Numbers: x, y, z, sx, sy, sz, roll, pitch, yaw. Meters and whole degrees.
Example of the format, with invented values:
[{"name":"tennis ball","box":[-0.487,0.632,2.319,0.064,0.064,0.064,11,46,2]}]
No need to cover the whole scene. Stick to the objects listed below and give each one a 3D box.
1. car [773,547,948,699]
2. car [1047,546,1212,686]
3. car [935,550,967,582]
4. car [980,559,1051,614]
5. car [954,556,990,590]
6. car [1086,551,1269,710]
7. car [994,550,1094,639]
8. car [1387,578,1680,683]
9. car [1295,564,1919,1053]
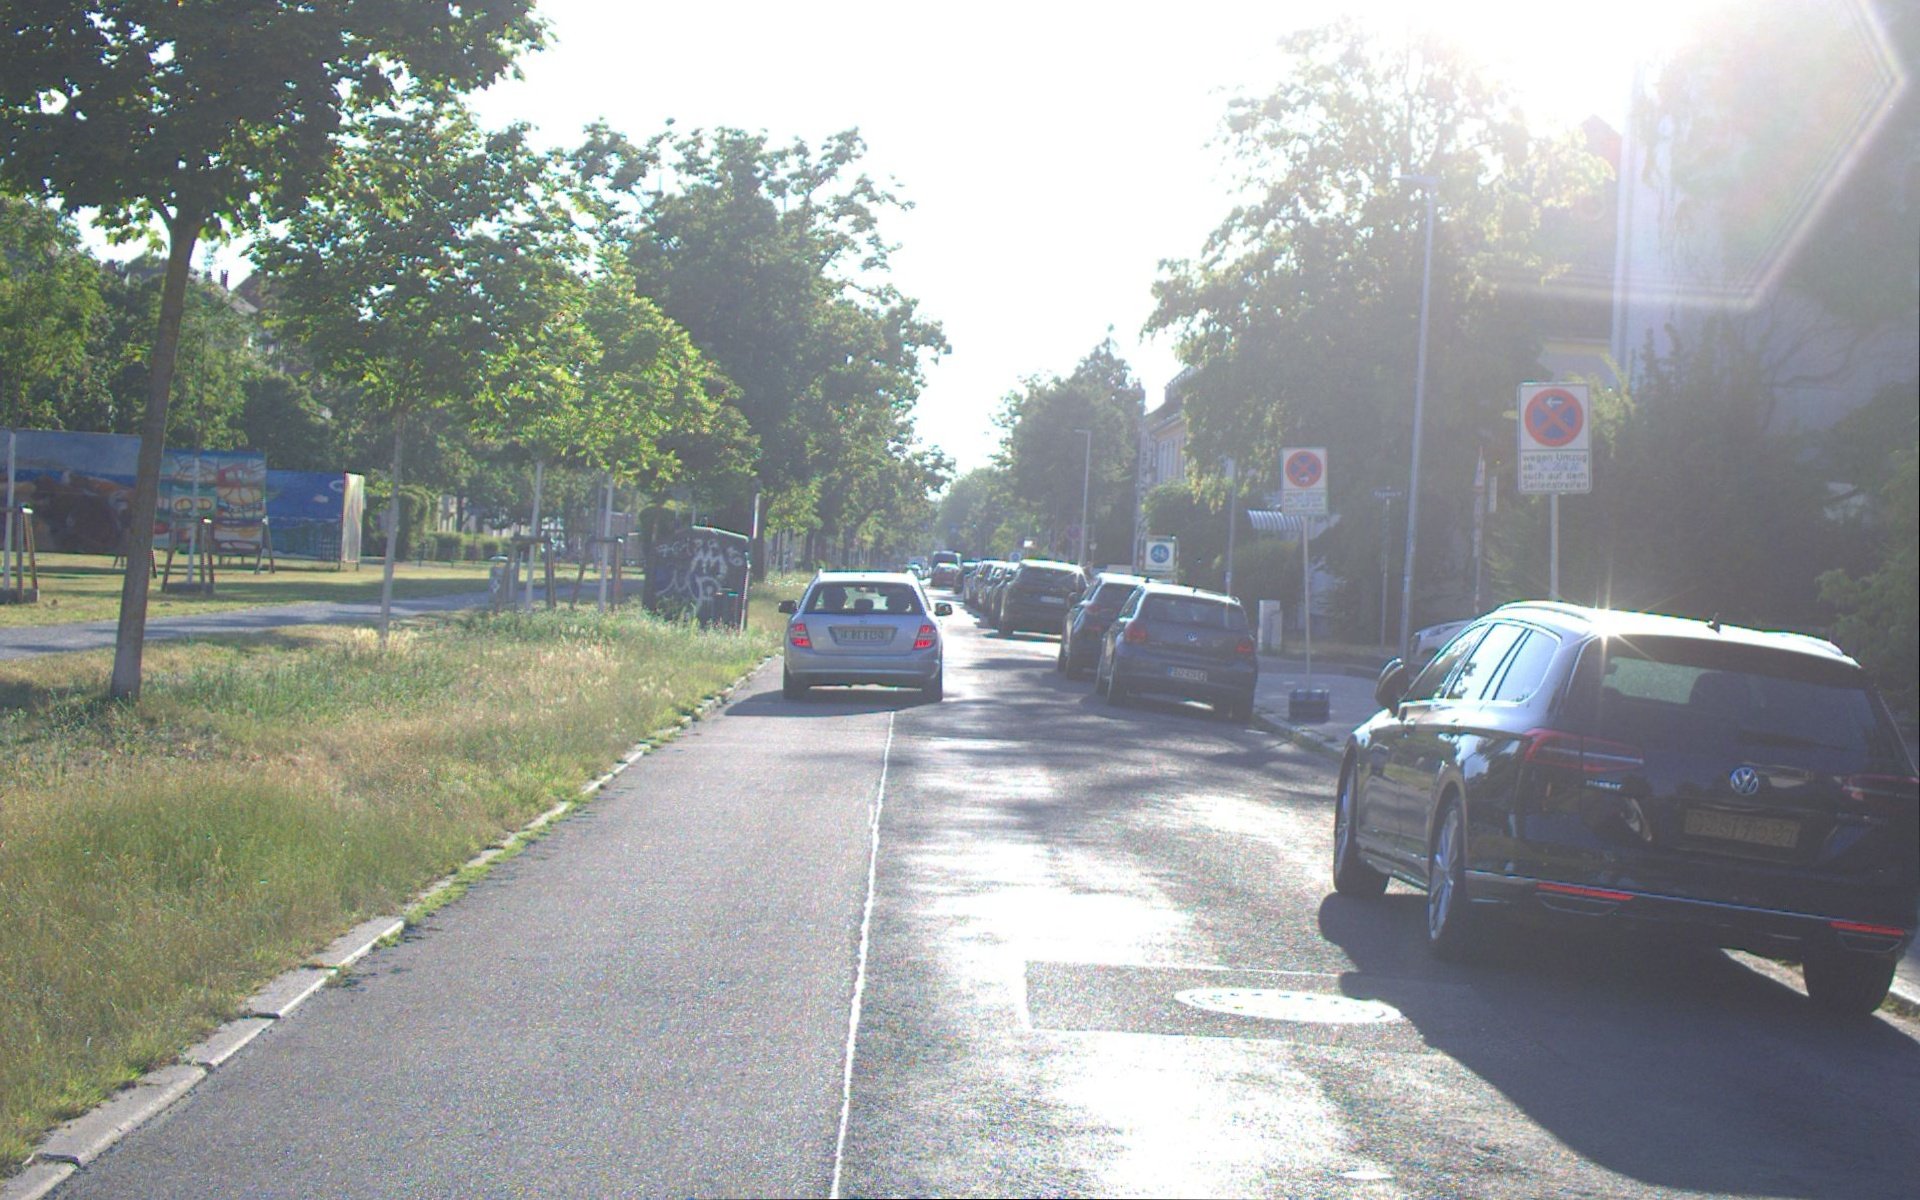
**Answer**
[{"name":"car","box":[-1.075,0.217,38.899,1.823,1.561,4.000,2,1,0]},{"name":"car","box":[2.283,0.171,47.416,1.822,1.556,4.622,9,1,0]},{"name":"car","box":[-0.600,-2.290,232.290,1.988,2.016,4.000,3,0,0]},{"name":"car","box":[1.670,-0.423,103.572,1.993,1.457,4.561,5,1,1]},{"name":"car","box":[0.584,-1.351,174.078,1.721,1.591,4.000,3,0,0]},{"name":"car","box":[2.494,0.311,40.361,1.687,1.522,4.175,7,1,0]},{"name":"car","box":[1.814,-0.128,75.791,1.832,1.726,5.032,5,0,-1]},{"name":"car","box":[10.283,0.566,61.866,4.846,1.481,2.002,4,-3,-1]},{"name":"car","box":[2.862,0.784,15.031,1.993,1.592,4.886,7,0,-2]}]
